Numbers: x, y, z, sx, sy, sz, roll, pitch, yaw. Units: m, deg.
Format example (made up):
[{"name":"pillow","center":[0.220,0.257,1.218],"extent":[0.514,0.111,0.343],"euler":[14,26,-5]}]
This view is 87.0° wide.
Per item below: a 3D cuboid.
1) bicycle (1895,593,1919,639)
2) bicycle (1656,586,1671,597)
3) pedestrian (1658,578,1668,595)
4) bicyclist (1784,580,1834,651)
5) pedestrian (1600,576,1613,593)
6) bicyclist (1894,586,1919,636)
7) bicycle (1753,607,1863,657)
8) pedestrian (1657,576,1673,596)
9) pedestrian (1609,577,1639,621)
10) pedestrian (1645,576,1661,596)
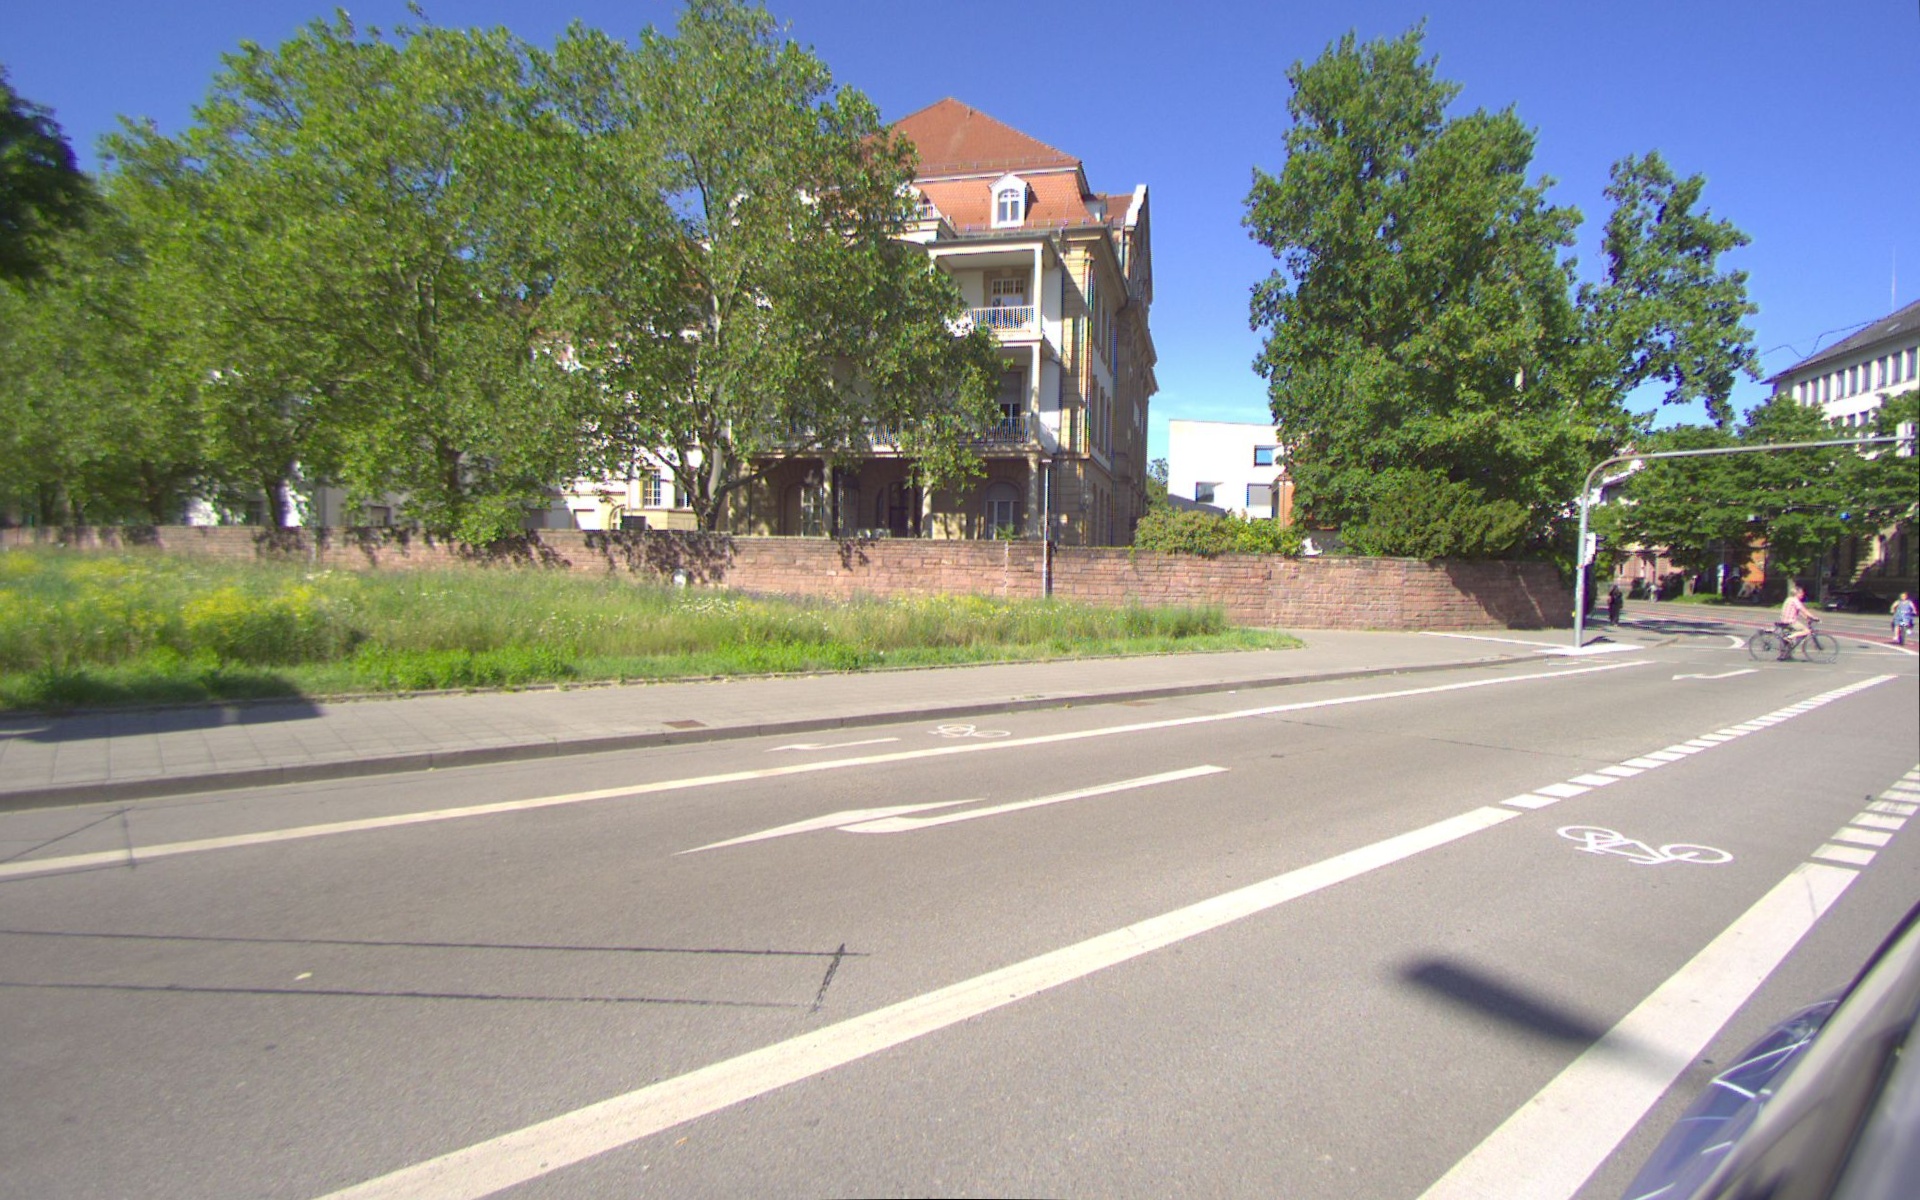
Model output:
[{"name":"bicycle","center":[30.992,0.501,32.878],"extent":[0.759,1.385,2.698],"euler":[2,2,40]},{"name":"bicycle","center":[61.682,-0.757,88.795],"extent":[0.593,1.019,1.975],"euler":[0,1,20]},{"name":"pedestrian","center":[61.683,-1.177,88.813],"extent":[0.589,1.420,0.641],"euler":[0,0,21]},{"name":"bicyclist","center":[19.916,0.346,23.754],"extent":[0.771,1.626,0.715],"euler":[1,1,31]},{"name":"pedestrian","center":[69.786,-1.706,109.241],"extent":[0.745,1.835,0.978],"euler":[1,1,10]},{"name":"bicyclist","center":[30.955,0.351,32.833],"extent":[0.866,1.579,1.261],"euler":[2,2,41]},{"name":"bicycle","center":[19.877,0.734,23.771],"extent":[1.870,1.083,0.717],"euler":[1,1,32]},{"name":"pedestrian","center":[65.071,-1.314,93.401],"extent":[0.745,1.835,0.978],"euler":[1,1,9]},{"name":"pedestrian","center":[27.058,-0.063,41.238],"extent":[0.935,1.742,0.983],"euler":[2,2,37]},{"name":"pedestrian","center":[66.659,-1.367,97.297],"extent":[0.741,1.835,0.983],"euler":[1,2,-18]}]
